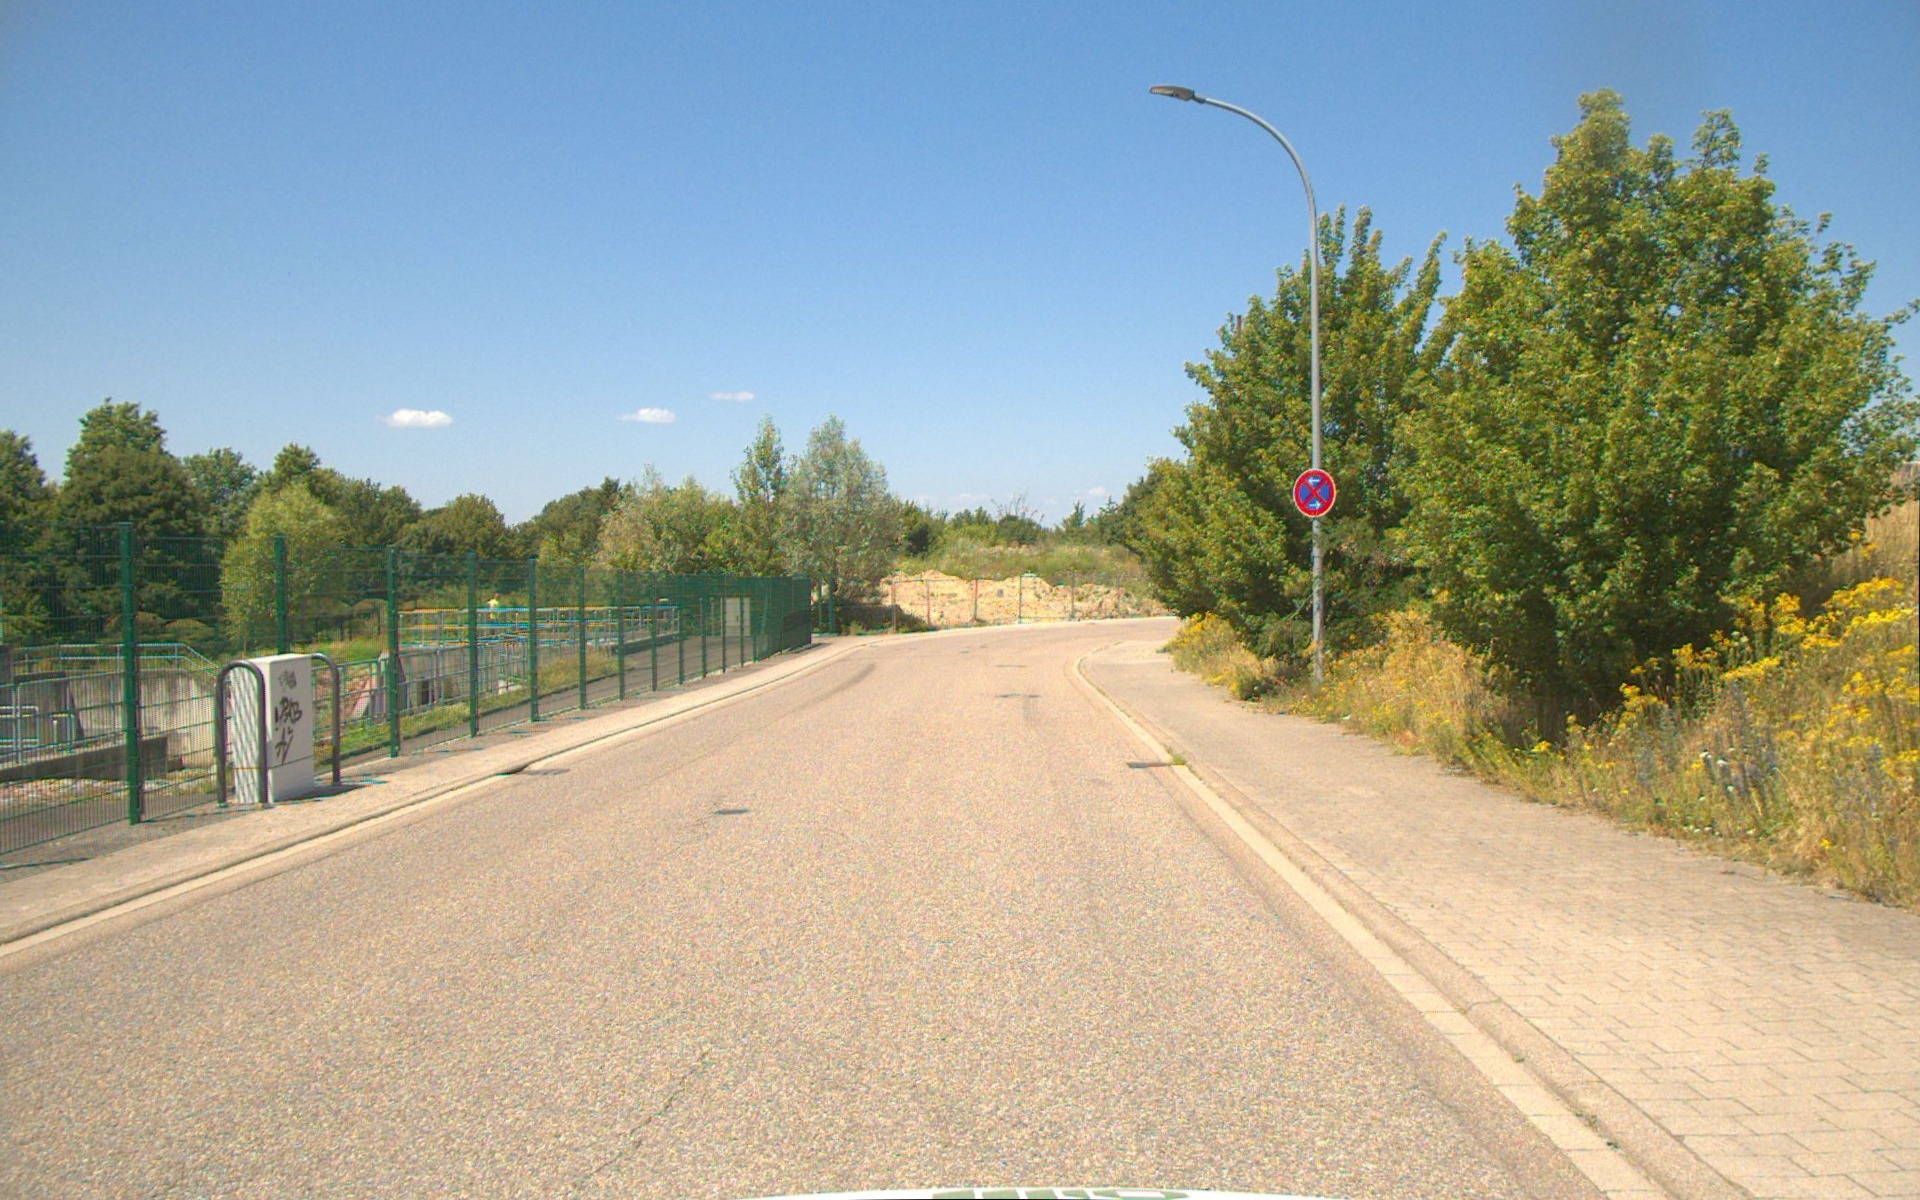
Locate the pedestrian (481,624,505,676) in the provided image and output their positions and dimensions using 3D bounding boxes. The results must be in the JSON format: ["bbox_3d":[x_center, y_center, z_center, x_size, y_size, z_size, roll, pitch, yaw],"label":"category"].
[{"bbox_3d":[-17.178,1.831,60.903,0.593,1.871,0.805,-2,0,0],"label":"pedestrian"}]
